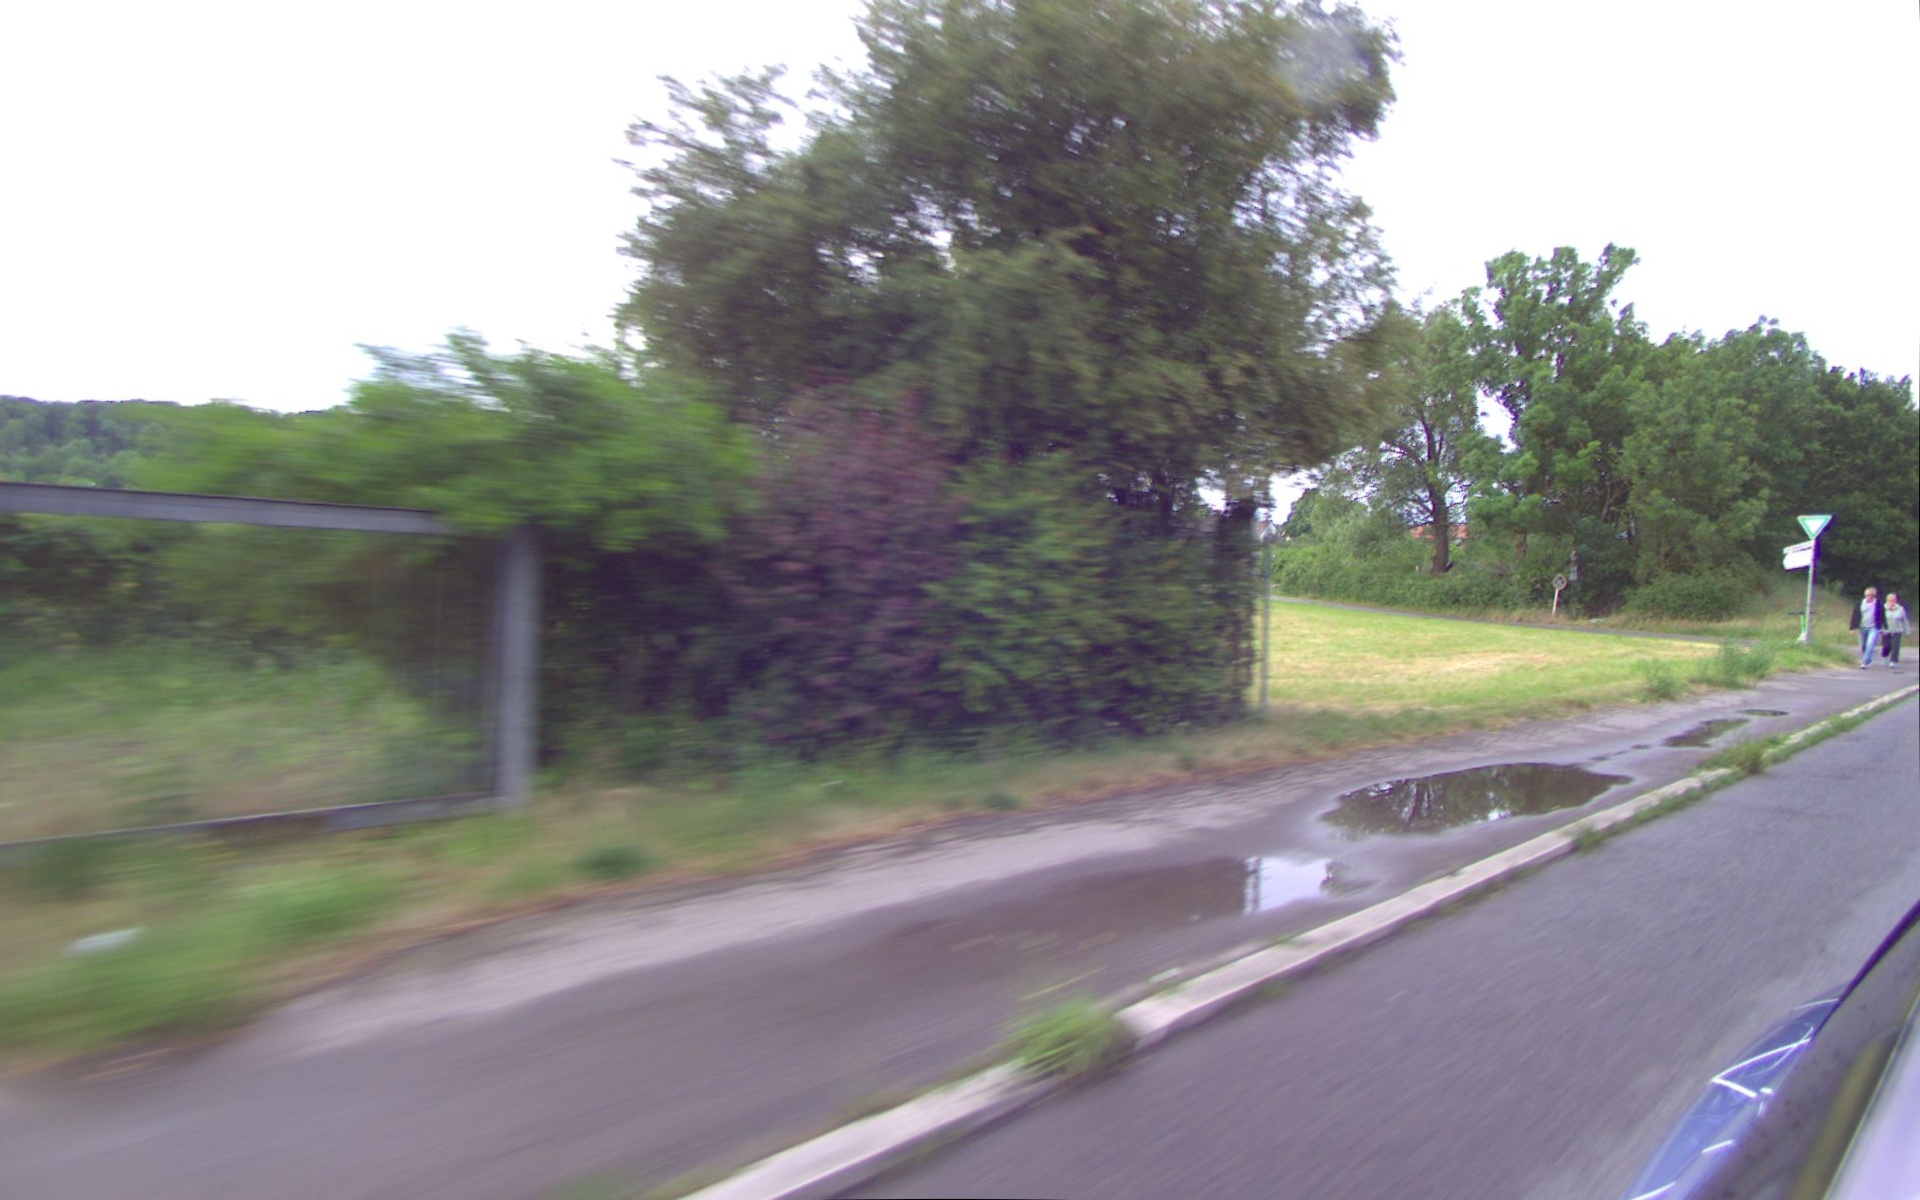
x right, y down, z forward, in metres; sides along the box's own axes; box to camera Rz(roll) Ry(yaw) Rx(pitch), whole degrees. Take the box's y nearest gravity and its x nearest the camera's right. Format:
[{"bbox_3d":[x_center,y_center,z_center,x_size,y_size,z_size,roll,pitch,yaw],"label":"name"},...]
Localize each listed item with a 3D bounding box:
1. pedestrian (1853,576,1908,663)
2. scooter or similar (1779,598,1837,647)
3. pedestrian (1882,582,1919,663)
[{"bbox_3d":[20.276,0.409,22.300,0.690,1.850,0.792,3,2,32],"label":"pedestrian"},{"bbox_3d":[22.526,0.575,26.894,0.367,1.221,1.328,1,2,0],"label":"scooter or similar"},{"bbox_3d":[21.621,0.491,23.092,0.658,1.800,0.751,3,2,32],"label":"pedestrian"}]
